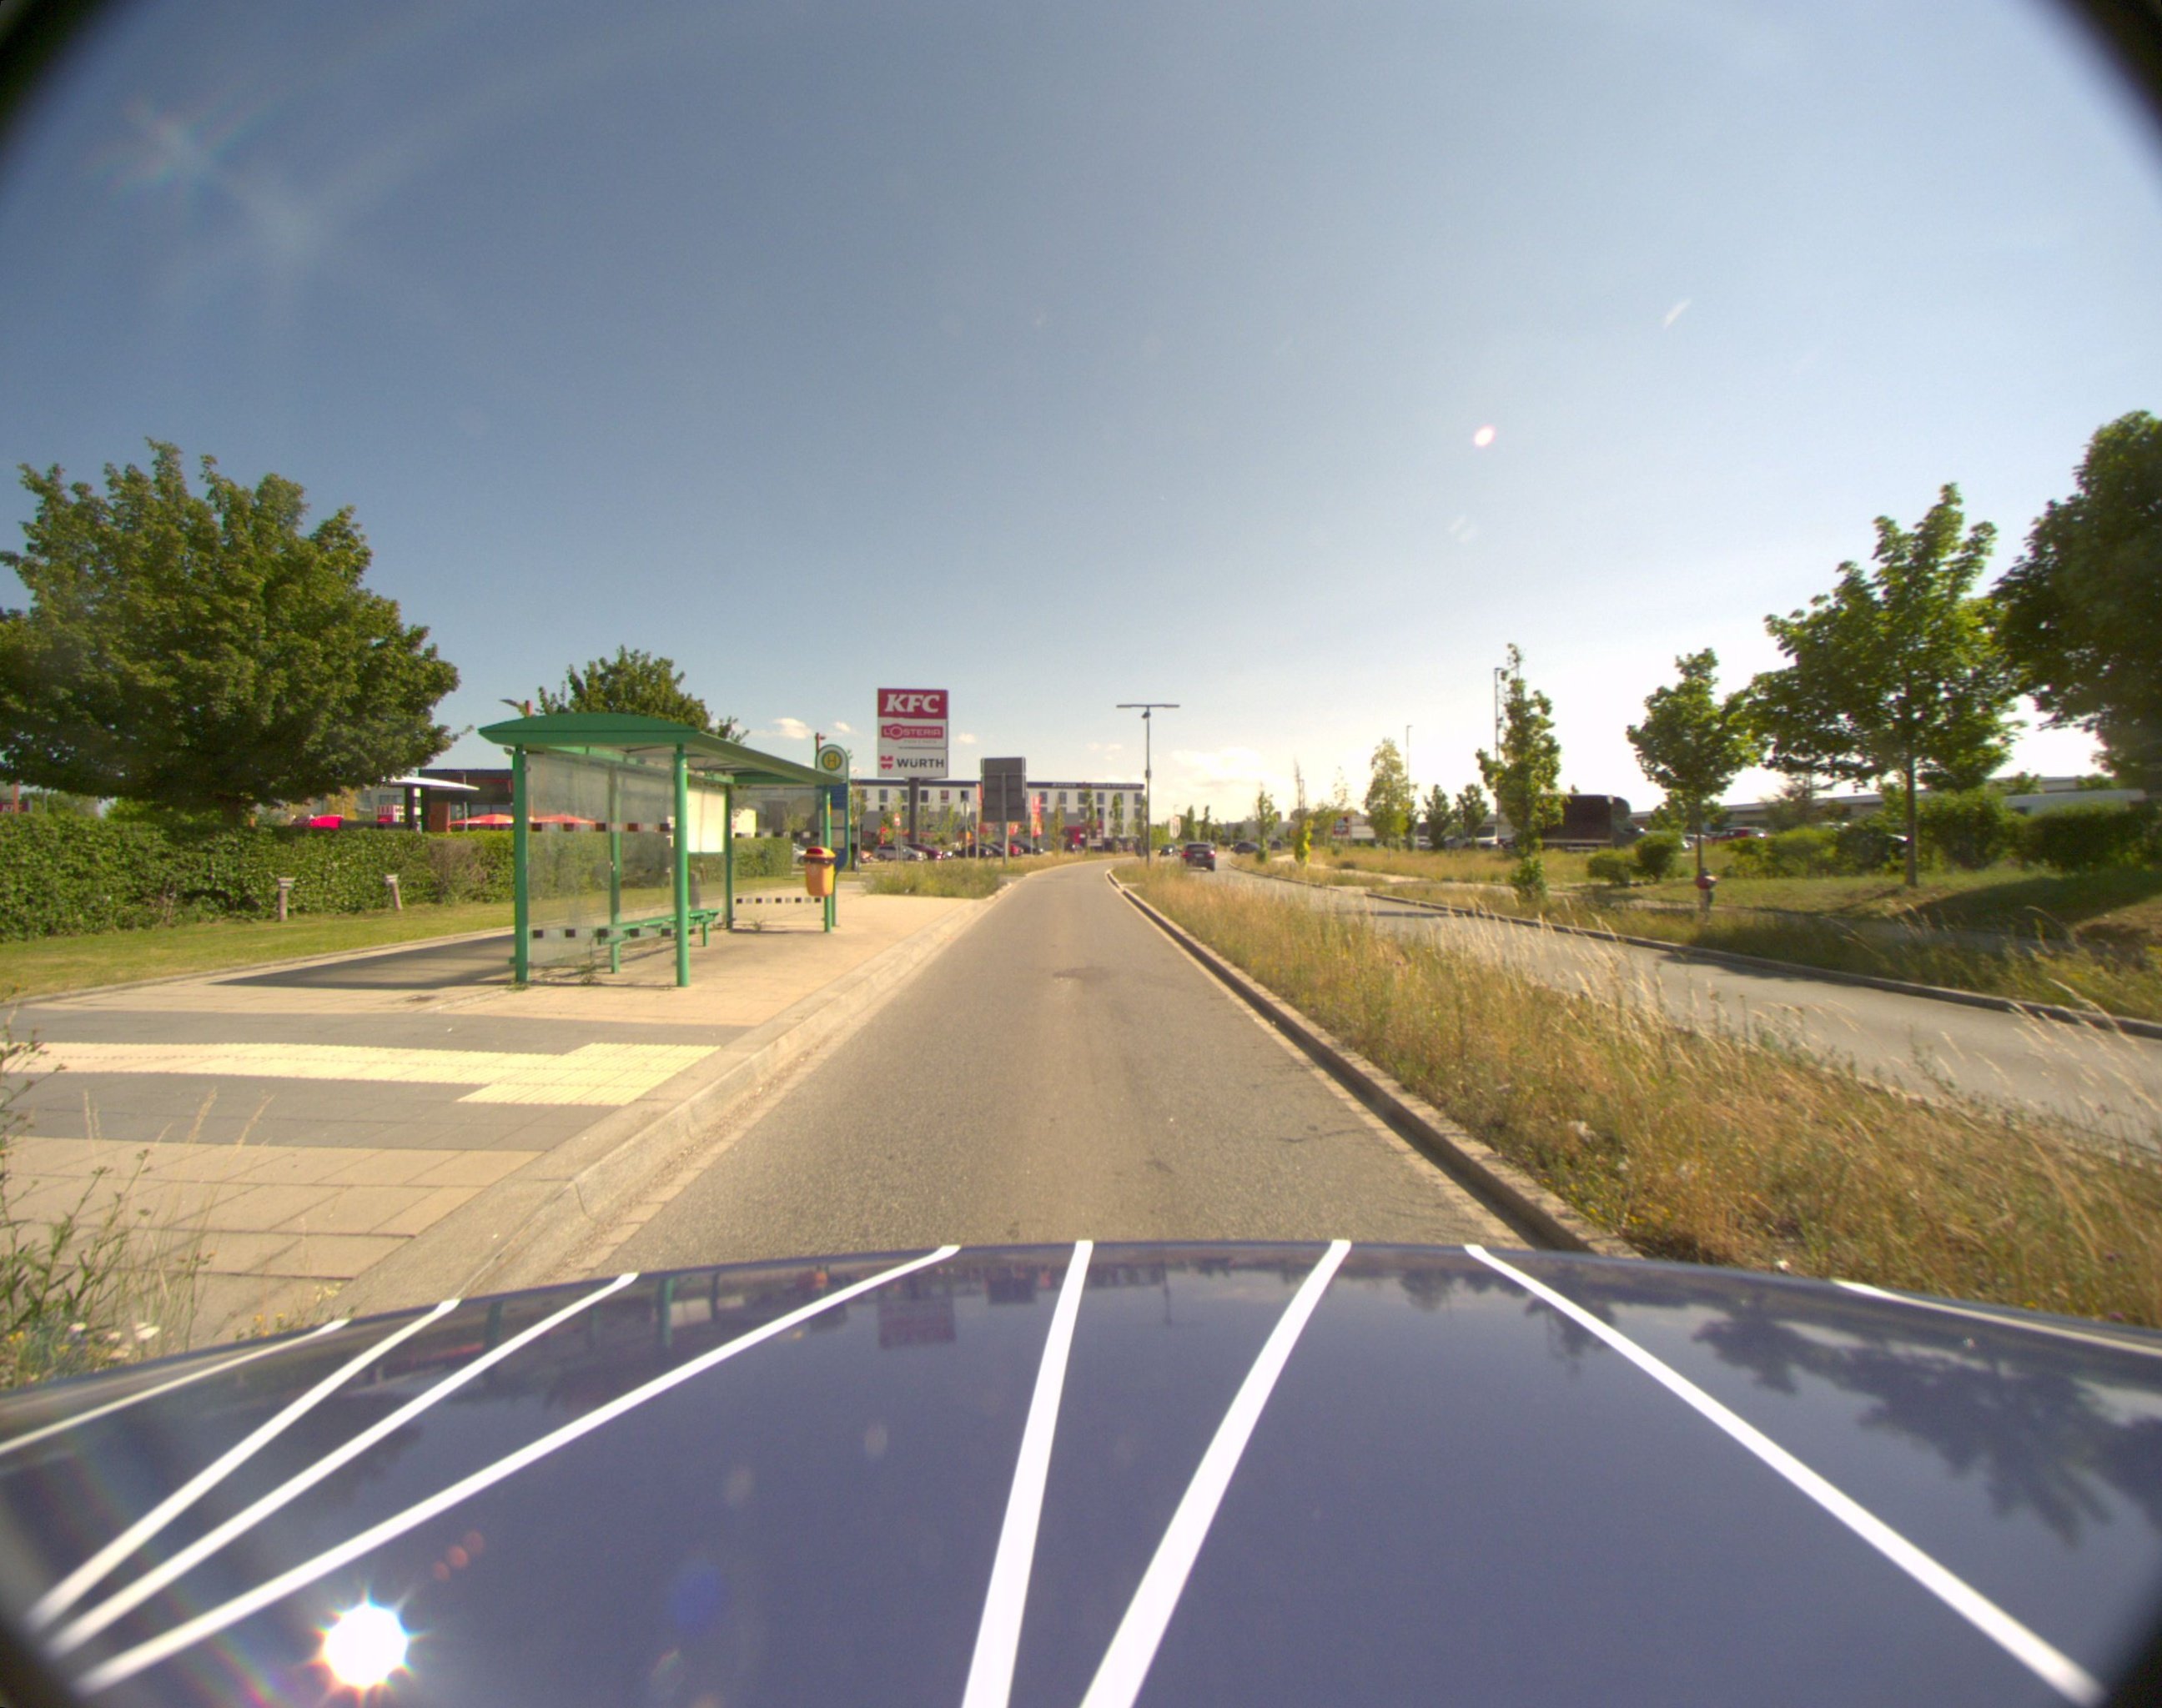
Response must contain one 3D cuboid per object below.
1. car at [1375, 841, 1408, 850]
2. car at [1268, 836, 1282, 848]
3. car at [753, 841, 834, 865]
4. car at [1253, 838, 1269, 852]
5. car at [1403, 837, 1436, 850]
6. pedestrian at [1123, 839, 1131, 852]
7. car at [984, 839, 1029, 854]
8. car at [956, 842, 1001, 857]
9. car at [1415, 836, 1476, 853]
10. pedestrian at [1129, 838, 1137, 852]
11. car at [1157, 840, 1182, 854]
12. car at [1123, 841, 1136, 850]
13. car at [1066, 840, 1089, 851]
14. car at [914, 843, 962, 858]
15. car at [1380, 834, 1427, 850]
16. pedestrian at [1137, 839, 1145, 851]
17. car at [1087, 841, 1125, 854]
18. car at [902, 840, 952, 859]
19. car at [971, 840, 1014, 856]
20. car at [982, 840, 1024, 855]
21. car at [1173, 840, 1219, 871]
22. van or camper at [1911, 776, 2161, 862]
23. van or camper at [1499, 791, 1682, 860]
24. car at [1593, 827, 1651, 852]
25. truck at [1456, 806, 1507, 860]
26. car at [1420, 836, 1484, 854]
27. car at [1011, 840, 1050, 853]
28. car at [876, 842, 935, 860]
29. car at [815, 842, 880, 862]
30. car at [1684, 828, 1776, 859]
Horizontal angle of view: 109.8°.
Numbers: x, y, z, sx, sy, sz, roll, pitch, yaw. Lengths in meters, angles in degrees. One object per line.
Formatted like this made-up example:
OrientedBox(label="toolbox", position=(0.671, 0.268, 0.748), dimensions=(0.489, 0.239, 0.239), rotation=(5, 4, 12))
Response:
OrientedBox(label="car", position=(55.704, -1.506, 136.276), dimensions=(5.190, 1.663, 2.001), rotation=(0, 1, 7))
OrientedBox(label="car", position=(29.649, -1.811, 116.096), dimensions=(1.953, 1.784, 4.432), rotation=(1, 1, 17))
OrientedBox(label="car", position=(-18.510, -0.073, 49.057), dimensions=(4.534, 1.482, 1.869), rotation=(1, 1, 7))
OrientedBox(label="car", position=(21.886, -1.143, 92.415), dimensions=(1.755, 1.678, 4.385), rotation=(0, 1, 12))
OrientedBox(label="car", position=(48.593, -1.523, 109.187), dimensions=(4.148, 1.850, 1.935), rotation=(0, 1, 19))
OrientedBox(label="pedestrian", position=(5.717, -1.104, 94.286), dimensions=(0.810, 1.619, 0.867), rotation=(0, 1, 21))
OrientedBox(label="car", position=(-8.942, -0.937, 91.199), dimensions=(4.988, 1.725, 1.942), rotation=(1, 1, 16))
OrientedBox(label="car", position=(-10.900, -0.486, 81.019), dimensions=(4.411, 1.441, 1.793), rotation=(1, 1, 17))
OrientedBox(label="car", position=(31.980, -0.859, 66.797), dimensions=(4.581, 1.450, 1.840), rotation=(0, 1, 15))
OrientedBox(label="pedestrian", position=(6.373, -1.107, 93.657), dimensions=(0.801, 1.620, 0.806), rotation=(0, 1, 21))
OrientedBox(label="car", position=(9.841, -0.738, 84.150), dimensions=(1.783, 1.485, 4.006), rotation=(0, 1, 22))
OrientedBox(label="car", position=(8.315, -1.442, 129.581), dimensions=(1.515, 1.399, 4.004), rotation=(0, 1, 15))
OrientedBox(label="car", position=(-0.509, -1.151, 106.450), dimensions=(1.781, 1.531, 4.175), rotation=(0, 1, 22))
OrientedBox(label="car", position=(-13.778, -0.344, 73.312), dimensions=(4.161, 1.441, 1.792), rotation=(1, 1, 8))
OrientedBox(label="car", position=(35.558, -1.260, 83.766), dimensions=(4.765, 1.633, 2.120), rotation=(-1, -1, 24))
OrientedBox(label="pedestrian", position=(7.443, -1.063, 94.041), dimensions=(0.793, 1.461, 0.950), rotation=(0, 1, 21))
OrientedBox(label="car", position=(3.235, -0.846, 98.685), dimensions=(4.456, 1.669, 1.905), rotation=(-1, -1, 21))
OrientedBox(label="car", position=(-14.365, -0.425, 70.762), dimensions=(4.159, 1.656, 1.871), rotation=(1, 1, 14))
OrientedBox(label="car", position=(-9.864, -0.704, 84.873), dimensions=(4.410, 1.725, 1.793), rotation=(1, 1, 18))
OrientedBox(label="car", position=(-9.024, -0.762, 87.946), dimensions=(4.410, 1.725, 1.793), rotation=(1, 1, 18))
OrientedBox(label="car", position=(6.313, 0.044, 42.055), dimensions=(1.763, 1.534, 4.239), rotation=(2, 1, -1))
OrientedBox(label="van or camper", position=(40.611, -1.393, 32.407), dimensions=(2.436, 3.252, 7.234), rotation=(0, 1, 0))
OrientedBox(label="van or camper", position=(26.657, -1.445, 40.060), dimensions=(7.708, 3.449, 2.556), rotation=(0, 1, 6))
OrientedBox(label="car", position=(45.601, -1.199, 64.108), dimensions=(1.836, 2.053, 4.381), rotation=(0, 1, 1))
OrientedBox(label="truck", position=(27.994, -1.438, 52.972), dimensions=(2.317, 3.445, 7.508), rotation=(1, 1, 34))
OrientedBox(label="car", position=(30.157, -0.728, 61.891), dimensions=(4.429, 1.375, 1.977), rotation=(0, 1, 15))
OrientedBox(label="car", position=(-6.250, -0.955, 94.532), dimensions=(4.411, 1.557, 1.997), rotation=(1, 1, 16))
OrientedBox(label="car", position=(-15.272, -0.293, 66.186), dimensions=(4.562, 1.482, 1.870), rotation=(1, 1, 11))
OrientedBox(label="car", position=(-17.321, -0.153, 56.517), dimensions=(4.212, 1.482, 1.869), rotation=(1, 1, 7))
OrientedBox(label="car", position=(39.682, -0.643, 46.623), dimensions=(1.837, 1.763, 4.380), rotation=(0, 1, -1))
